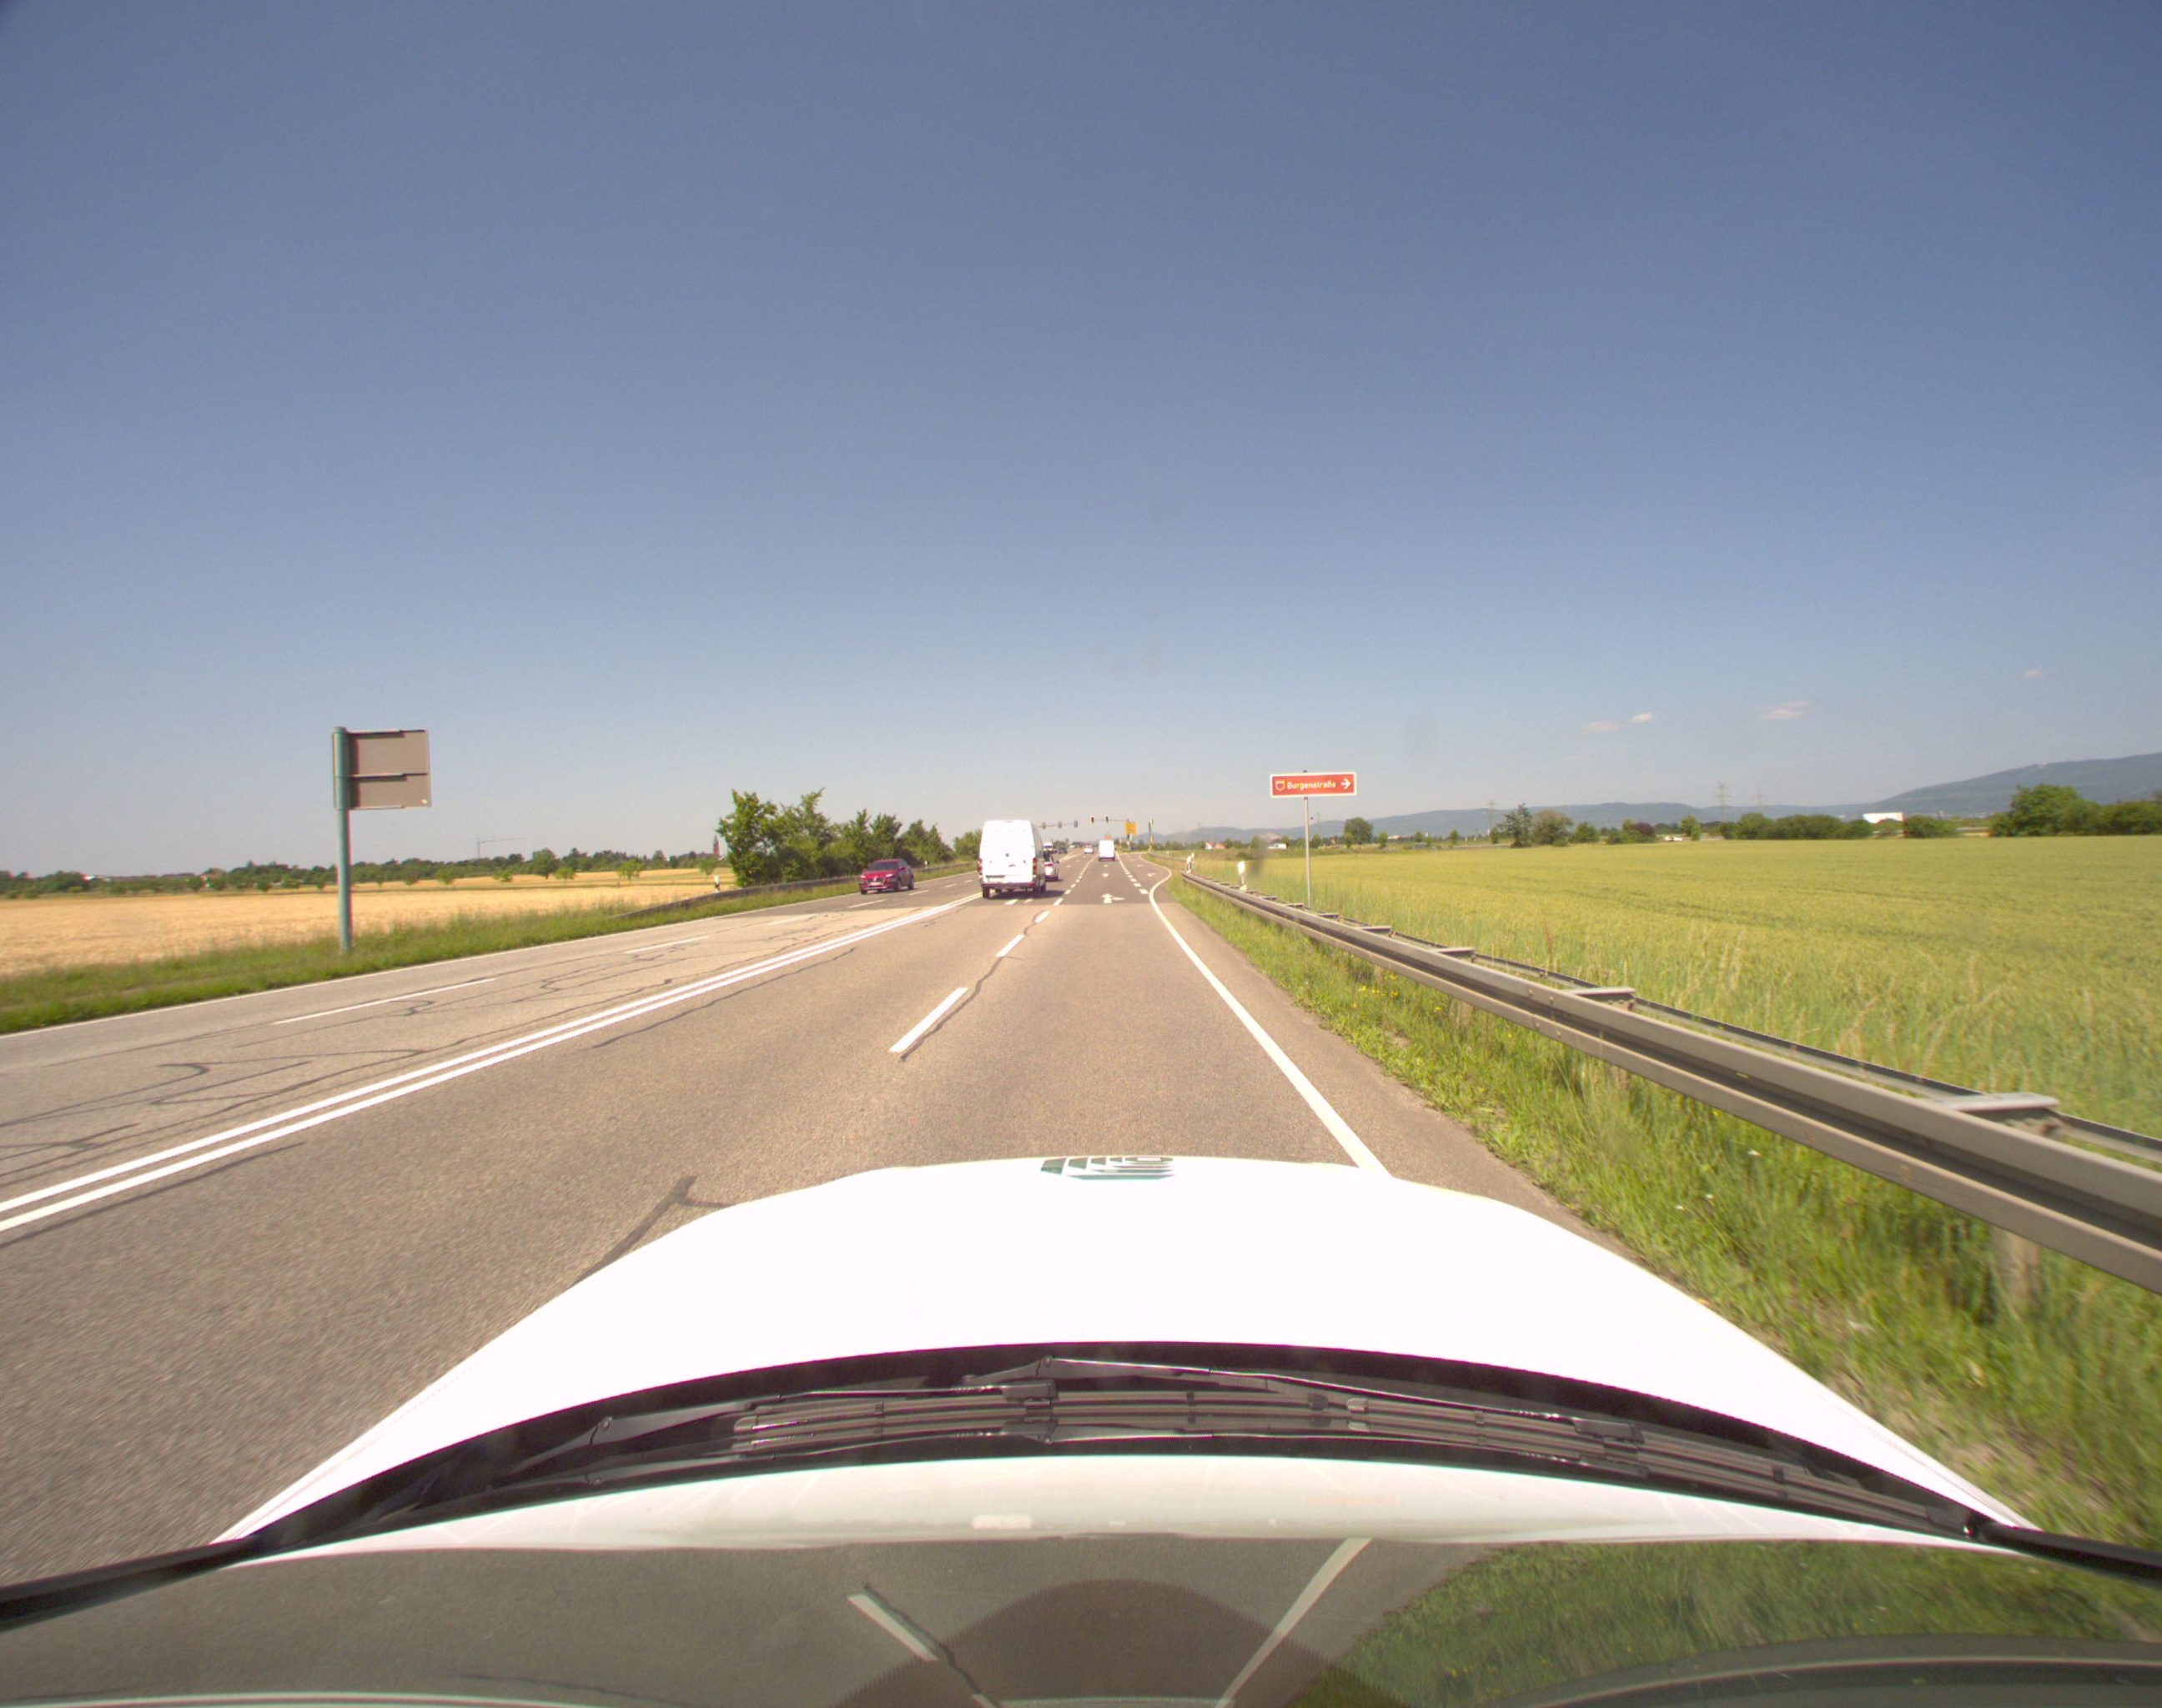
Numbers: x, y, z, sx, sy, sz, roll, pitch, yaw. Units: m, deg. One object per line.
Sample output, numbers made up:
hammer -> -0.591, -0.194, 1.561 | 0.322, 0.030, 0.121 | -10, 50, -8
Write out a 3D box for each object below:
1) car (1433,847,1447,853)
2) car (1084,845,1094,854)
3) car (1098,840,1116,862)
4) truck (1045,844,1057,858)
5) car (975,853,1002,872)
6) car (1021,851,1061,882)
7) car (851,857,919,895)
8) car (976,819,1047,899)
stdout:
car -> 95.647, -1.127, 217.012 | 3.493, 1.486, 1.634 | 0, -1, -29
car -> 1.637, -0.905, 162.547 | 1.986, 1.703, 4.277 | 0, -1, 2
car -> 3.219, -0.359, 100.951 | 1.986, 2.695, 4.971 | -2, 0, 2
truck -> -6.779, -0.629, 184.144 | 2.287, 2.957, 5.287 | -1, -1, 3
car -> -8.391, 0.749, 73.969 | 1.813, 1.508, 4.127 | -4, 0, 1
car -> -2.089, 0.616, 43.494 | 1.793, 1.508, 4.198 | -1, 1, 1
car -> -9.295, 1.020, 39.049 | 1.986, 1.562, 4.313 | -3, 0, 2
car -> -2.414, 0.193, 29.696 | 2.032, 2.620, 5.740 | 0, -1, 0
